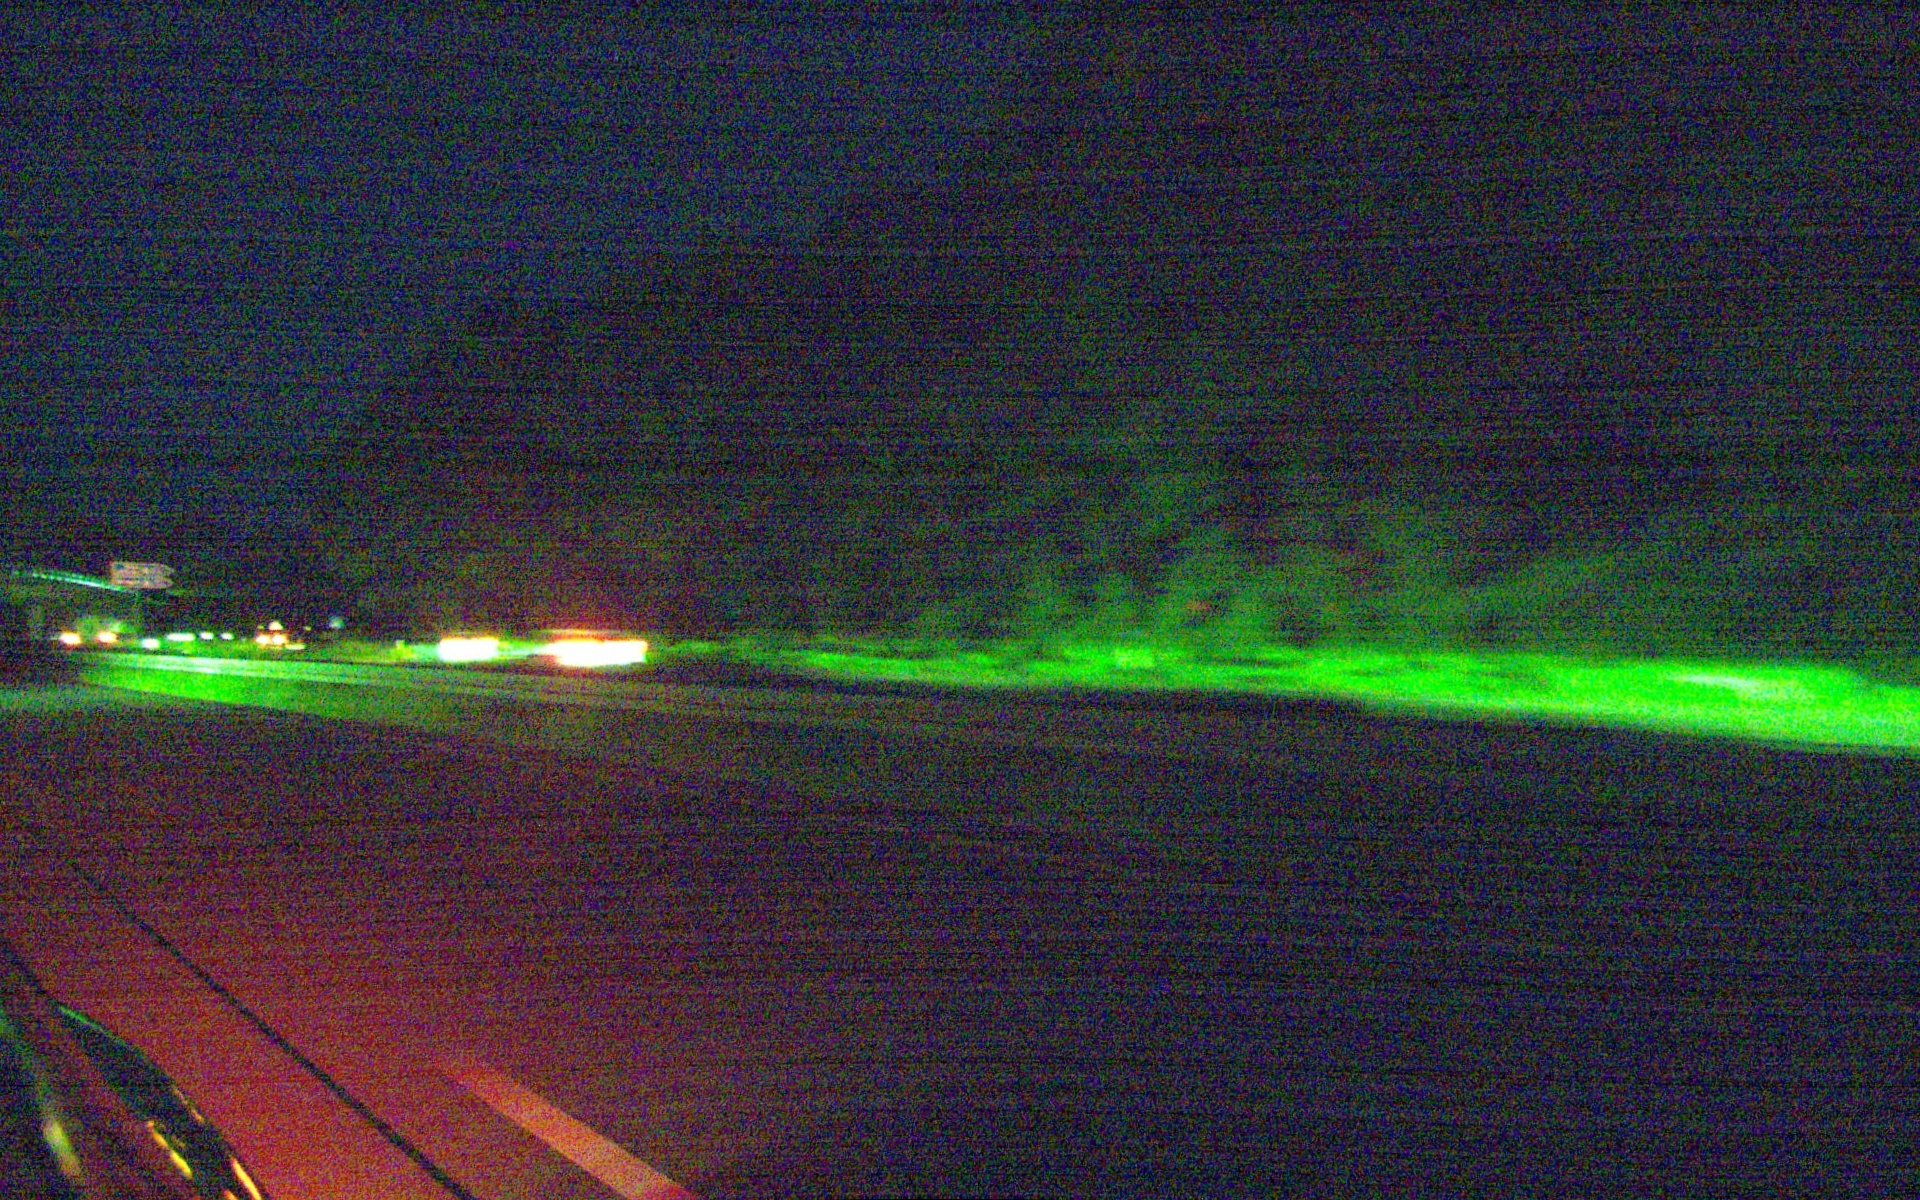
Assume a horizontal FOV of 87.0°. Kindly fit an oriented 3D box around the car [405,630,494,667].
[{"bbox_3d":[-20.975,1.980,41.511,4.170,1.468,1.936,-2,-3,43],"label":"car"}]

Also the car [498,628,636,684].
[{"bbox_3d":[-11.367,1.579,29.111,4.470,1.468,1.936,-2,-3,43],"label":"car"}]

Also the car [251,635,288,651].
[{"bbox_3d":[-63.042,3.945,92.420,4.475,1.453,1.801,-3,-4,43],"label":"car"}]

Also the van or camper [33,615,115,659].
[{"bbox_3d":[-55.713,2.342,63.579,7.651,2.638,2.273,-2,-3,37],"label":"van or camper"}]
